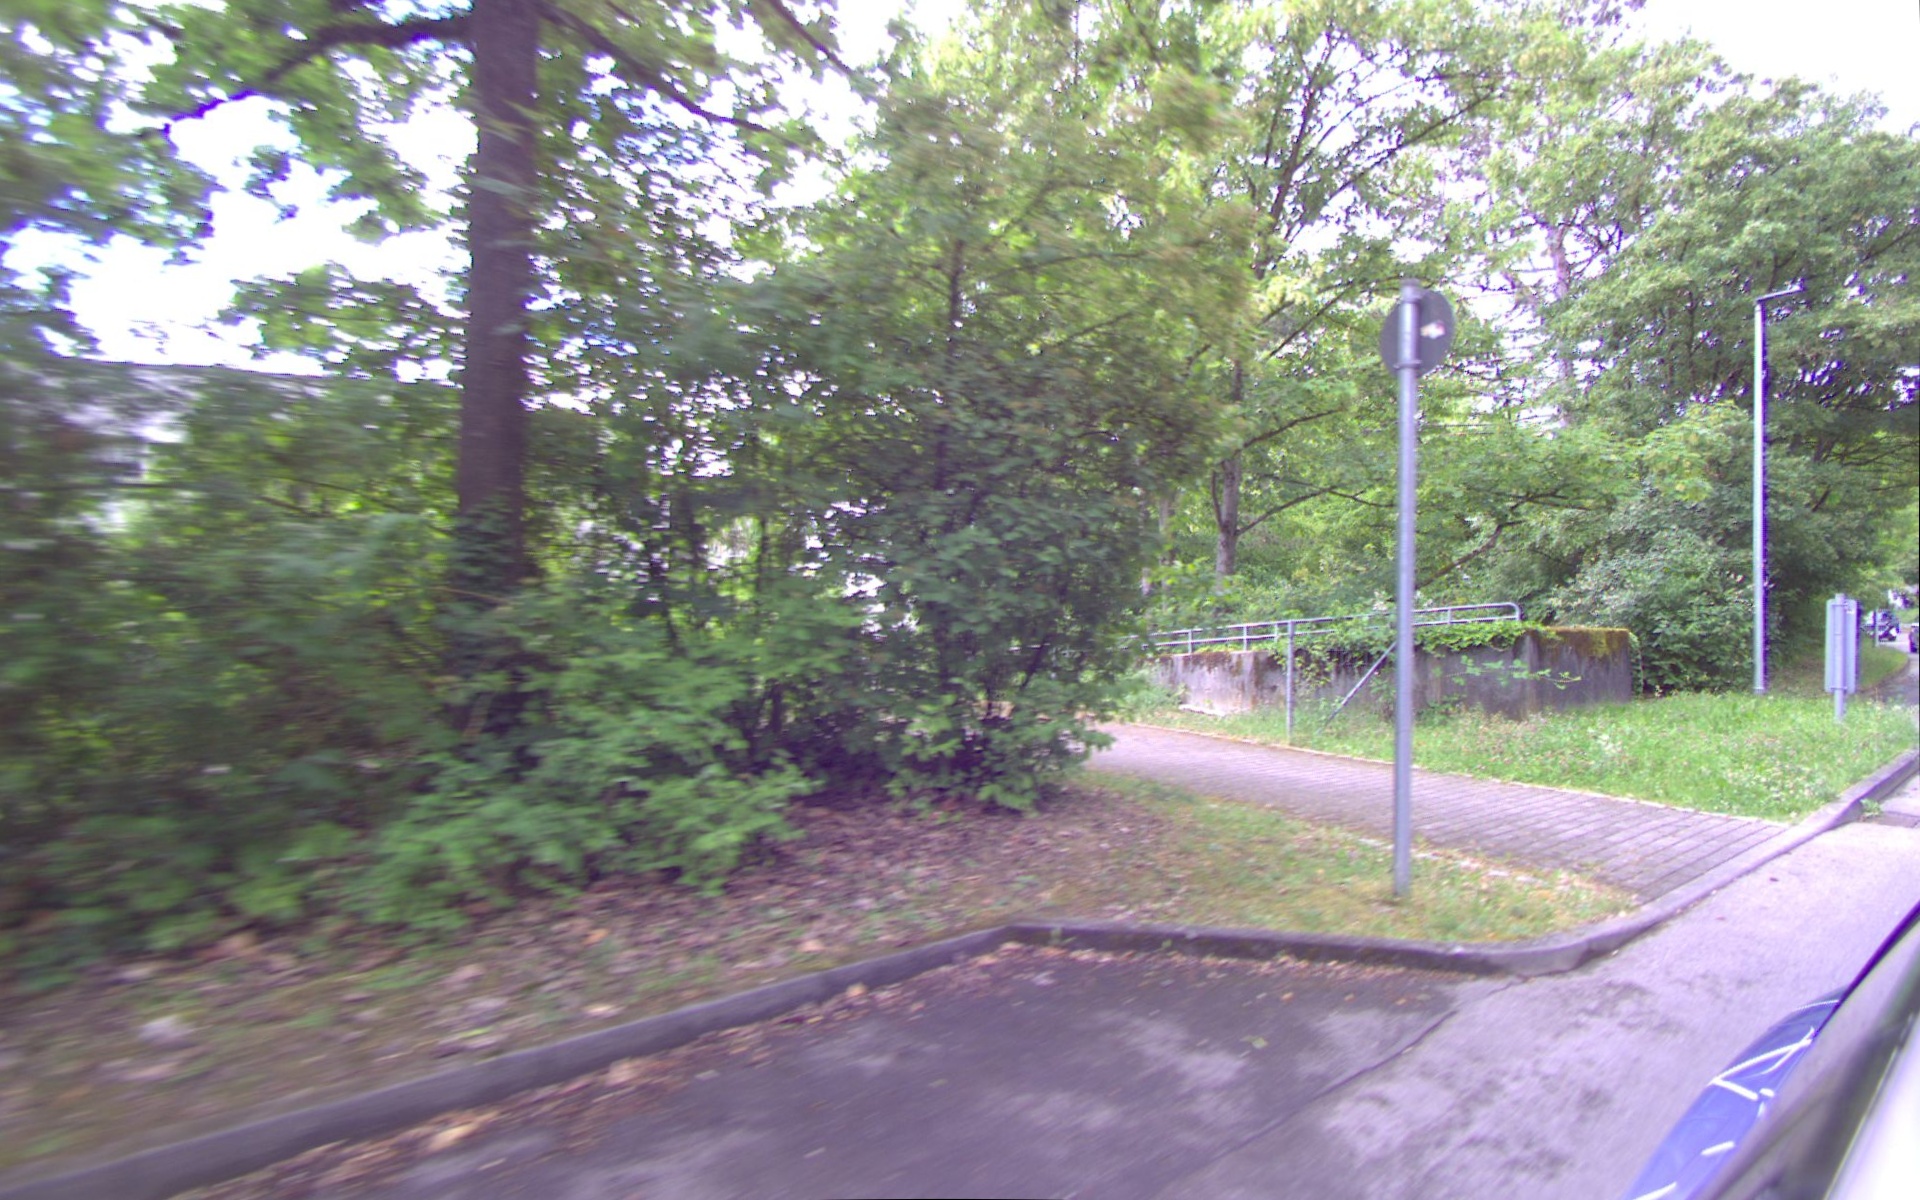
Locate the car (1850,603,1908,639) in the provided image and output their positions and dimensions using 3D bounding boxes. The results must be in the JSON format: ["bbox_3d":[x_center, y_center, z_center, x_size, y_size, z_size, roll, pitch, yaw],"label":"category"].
[{"bbox_3d":[47.553,1.061,52.329,3.935,1.693,1.994,-1,-1,-45],"label":"car"}]

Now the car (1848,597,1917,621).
[{"bbox_3d":[59.213,0.577,65.056,1.830,1.511,3.974,-1,-1,19],"label":"car"}]
